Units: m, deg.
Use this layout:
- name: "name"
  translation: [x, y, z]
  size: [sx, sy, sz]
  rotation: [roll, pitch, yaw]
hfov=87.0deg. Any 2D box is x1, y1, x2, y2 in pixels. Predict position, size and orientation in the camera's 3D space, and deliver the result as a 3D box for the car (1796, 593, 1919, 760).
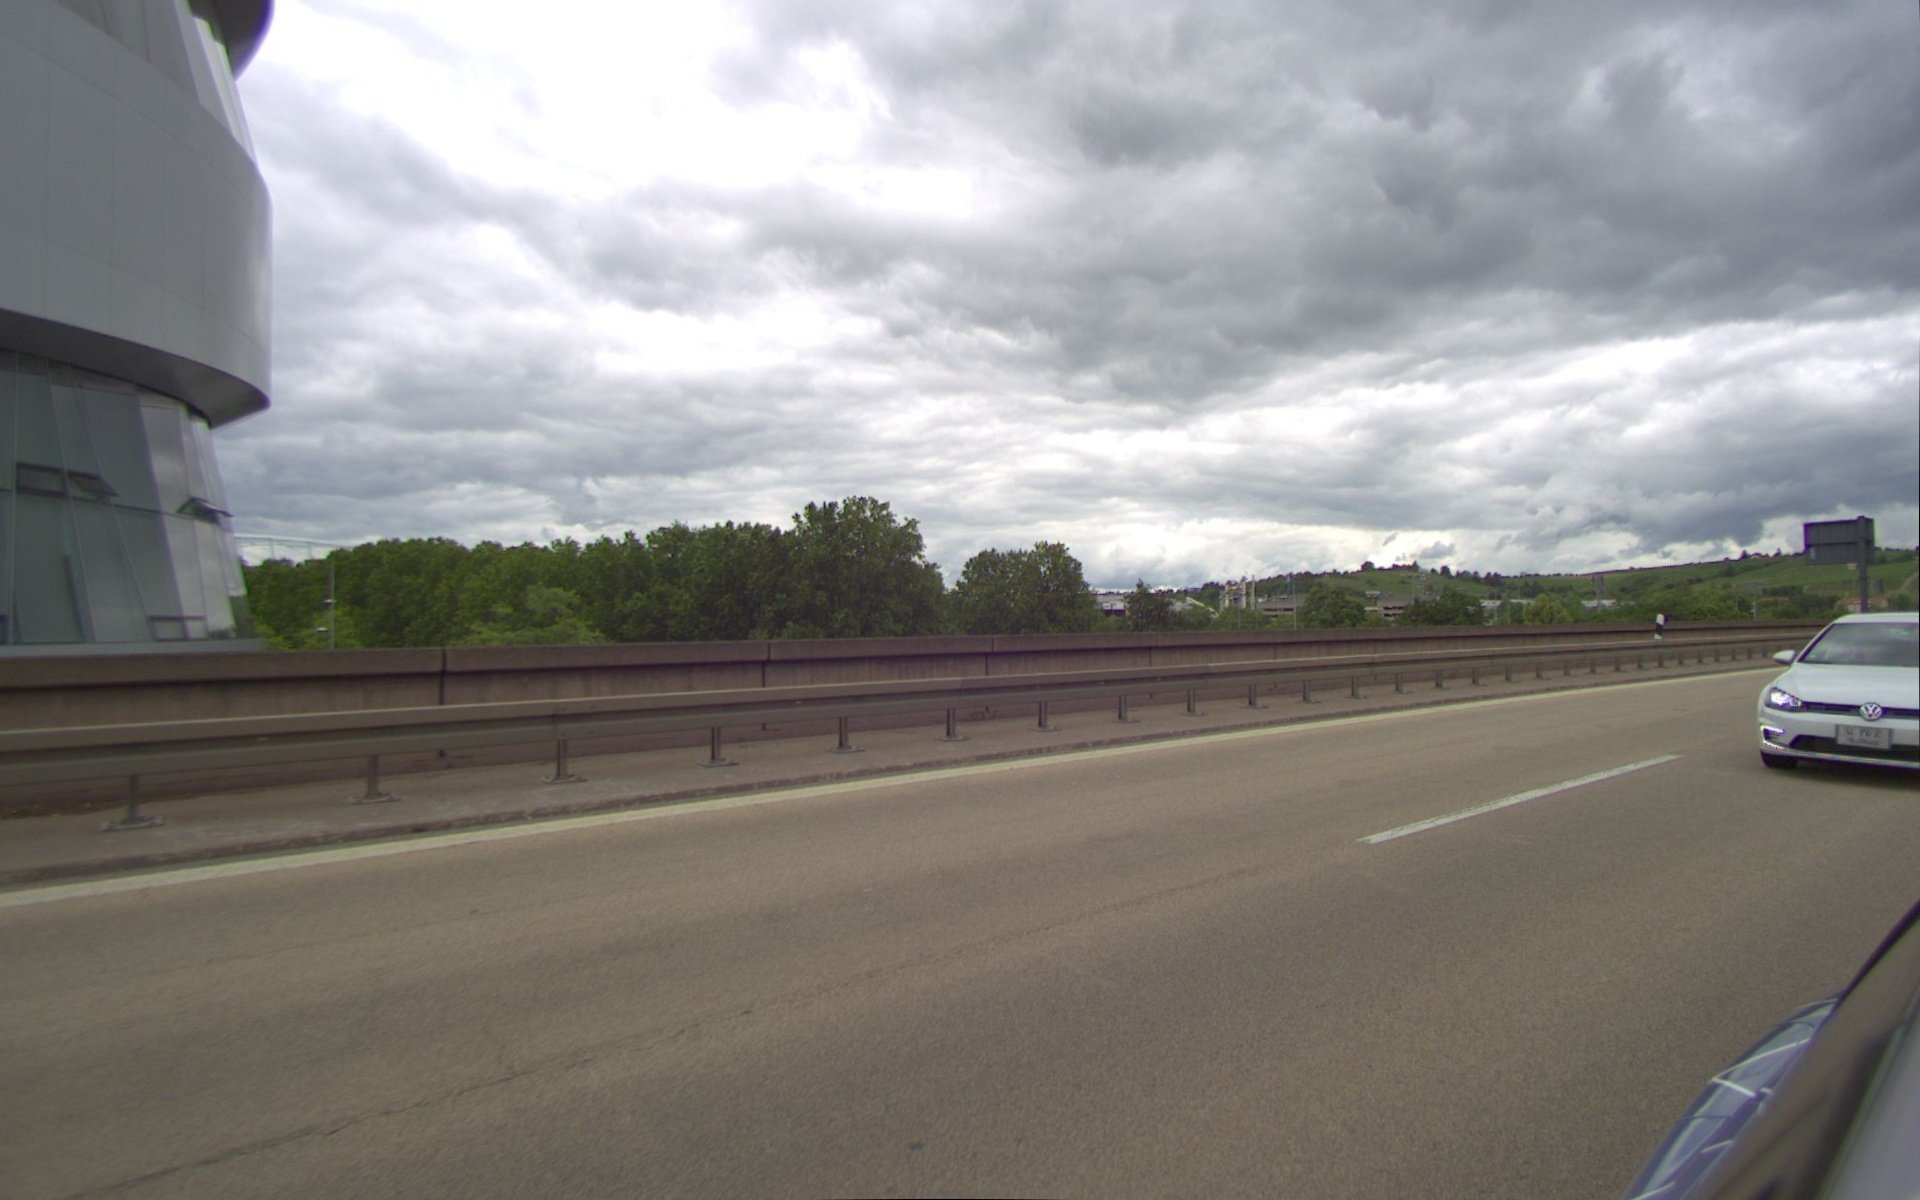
- name: "car"
  translation: [10.493, 0.701, 10.653]
  size: [3.989, 1.527, 1.929]
  rotation: [-1, 0, -40]
